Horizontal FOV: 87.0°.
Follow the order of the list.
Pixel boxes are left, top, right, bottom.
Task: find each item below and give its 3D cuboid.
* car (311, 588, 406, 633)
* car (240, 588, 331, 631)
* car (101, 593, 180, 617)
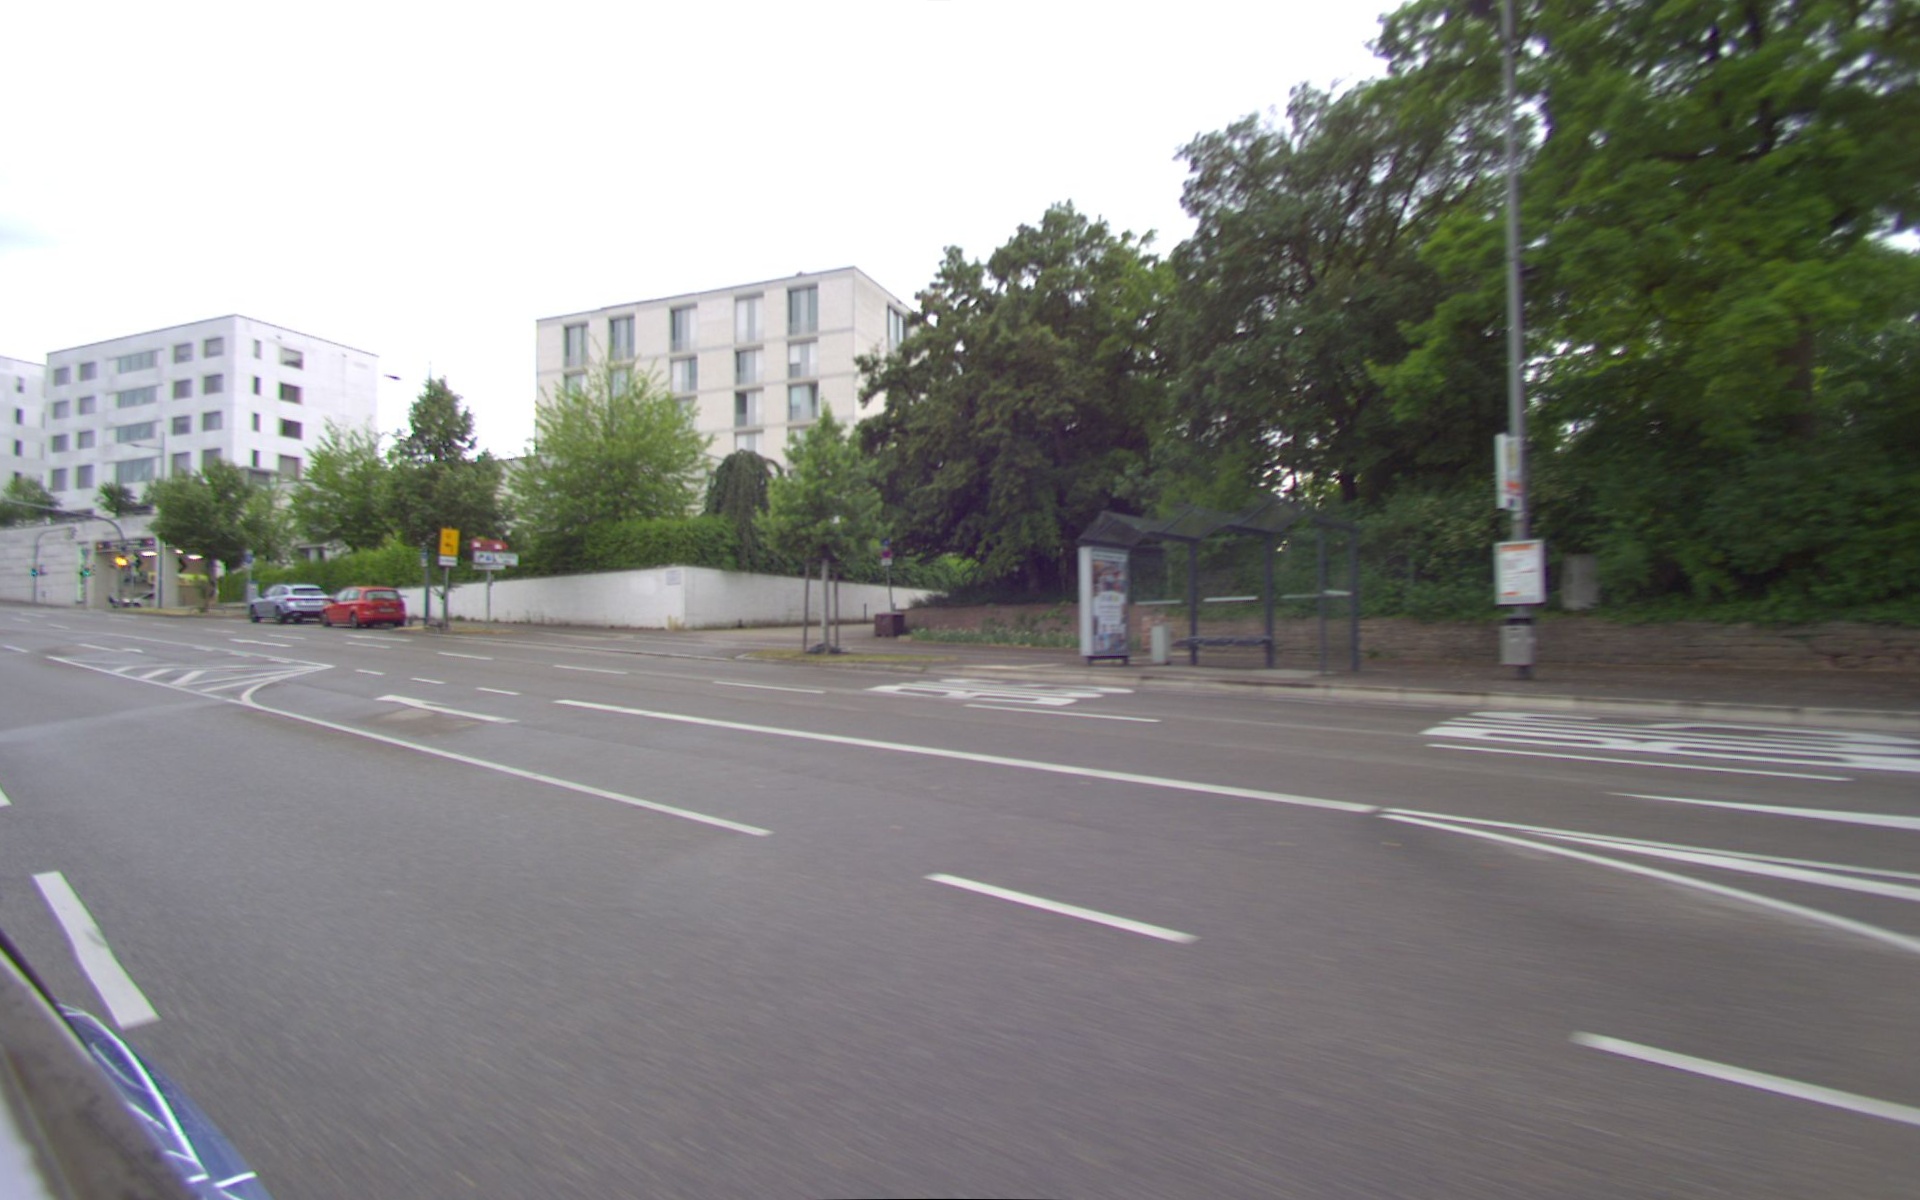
[{"bbox_3d":[-22.988,0.380,38.639,4.210,1.599,1.649,1,0,37],"label":"car"},{"bbox_3d":[-28.630,0.339,42.890,4.876,1.666,1.747,1,2,37],"label":"car"},{"bbox_3d":[-62.884,0.404,77.757,1.985,1.664,4.318,1,-1,19],"label":"car"}]
